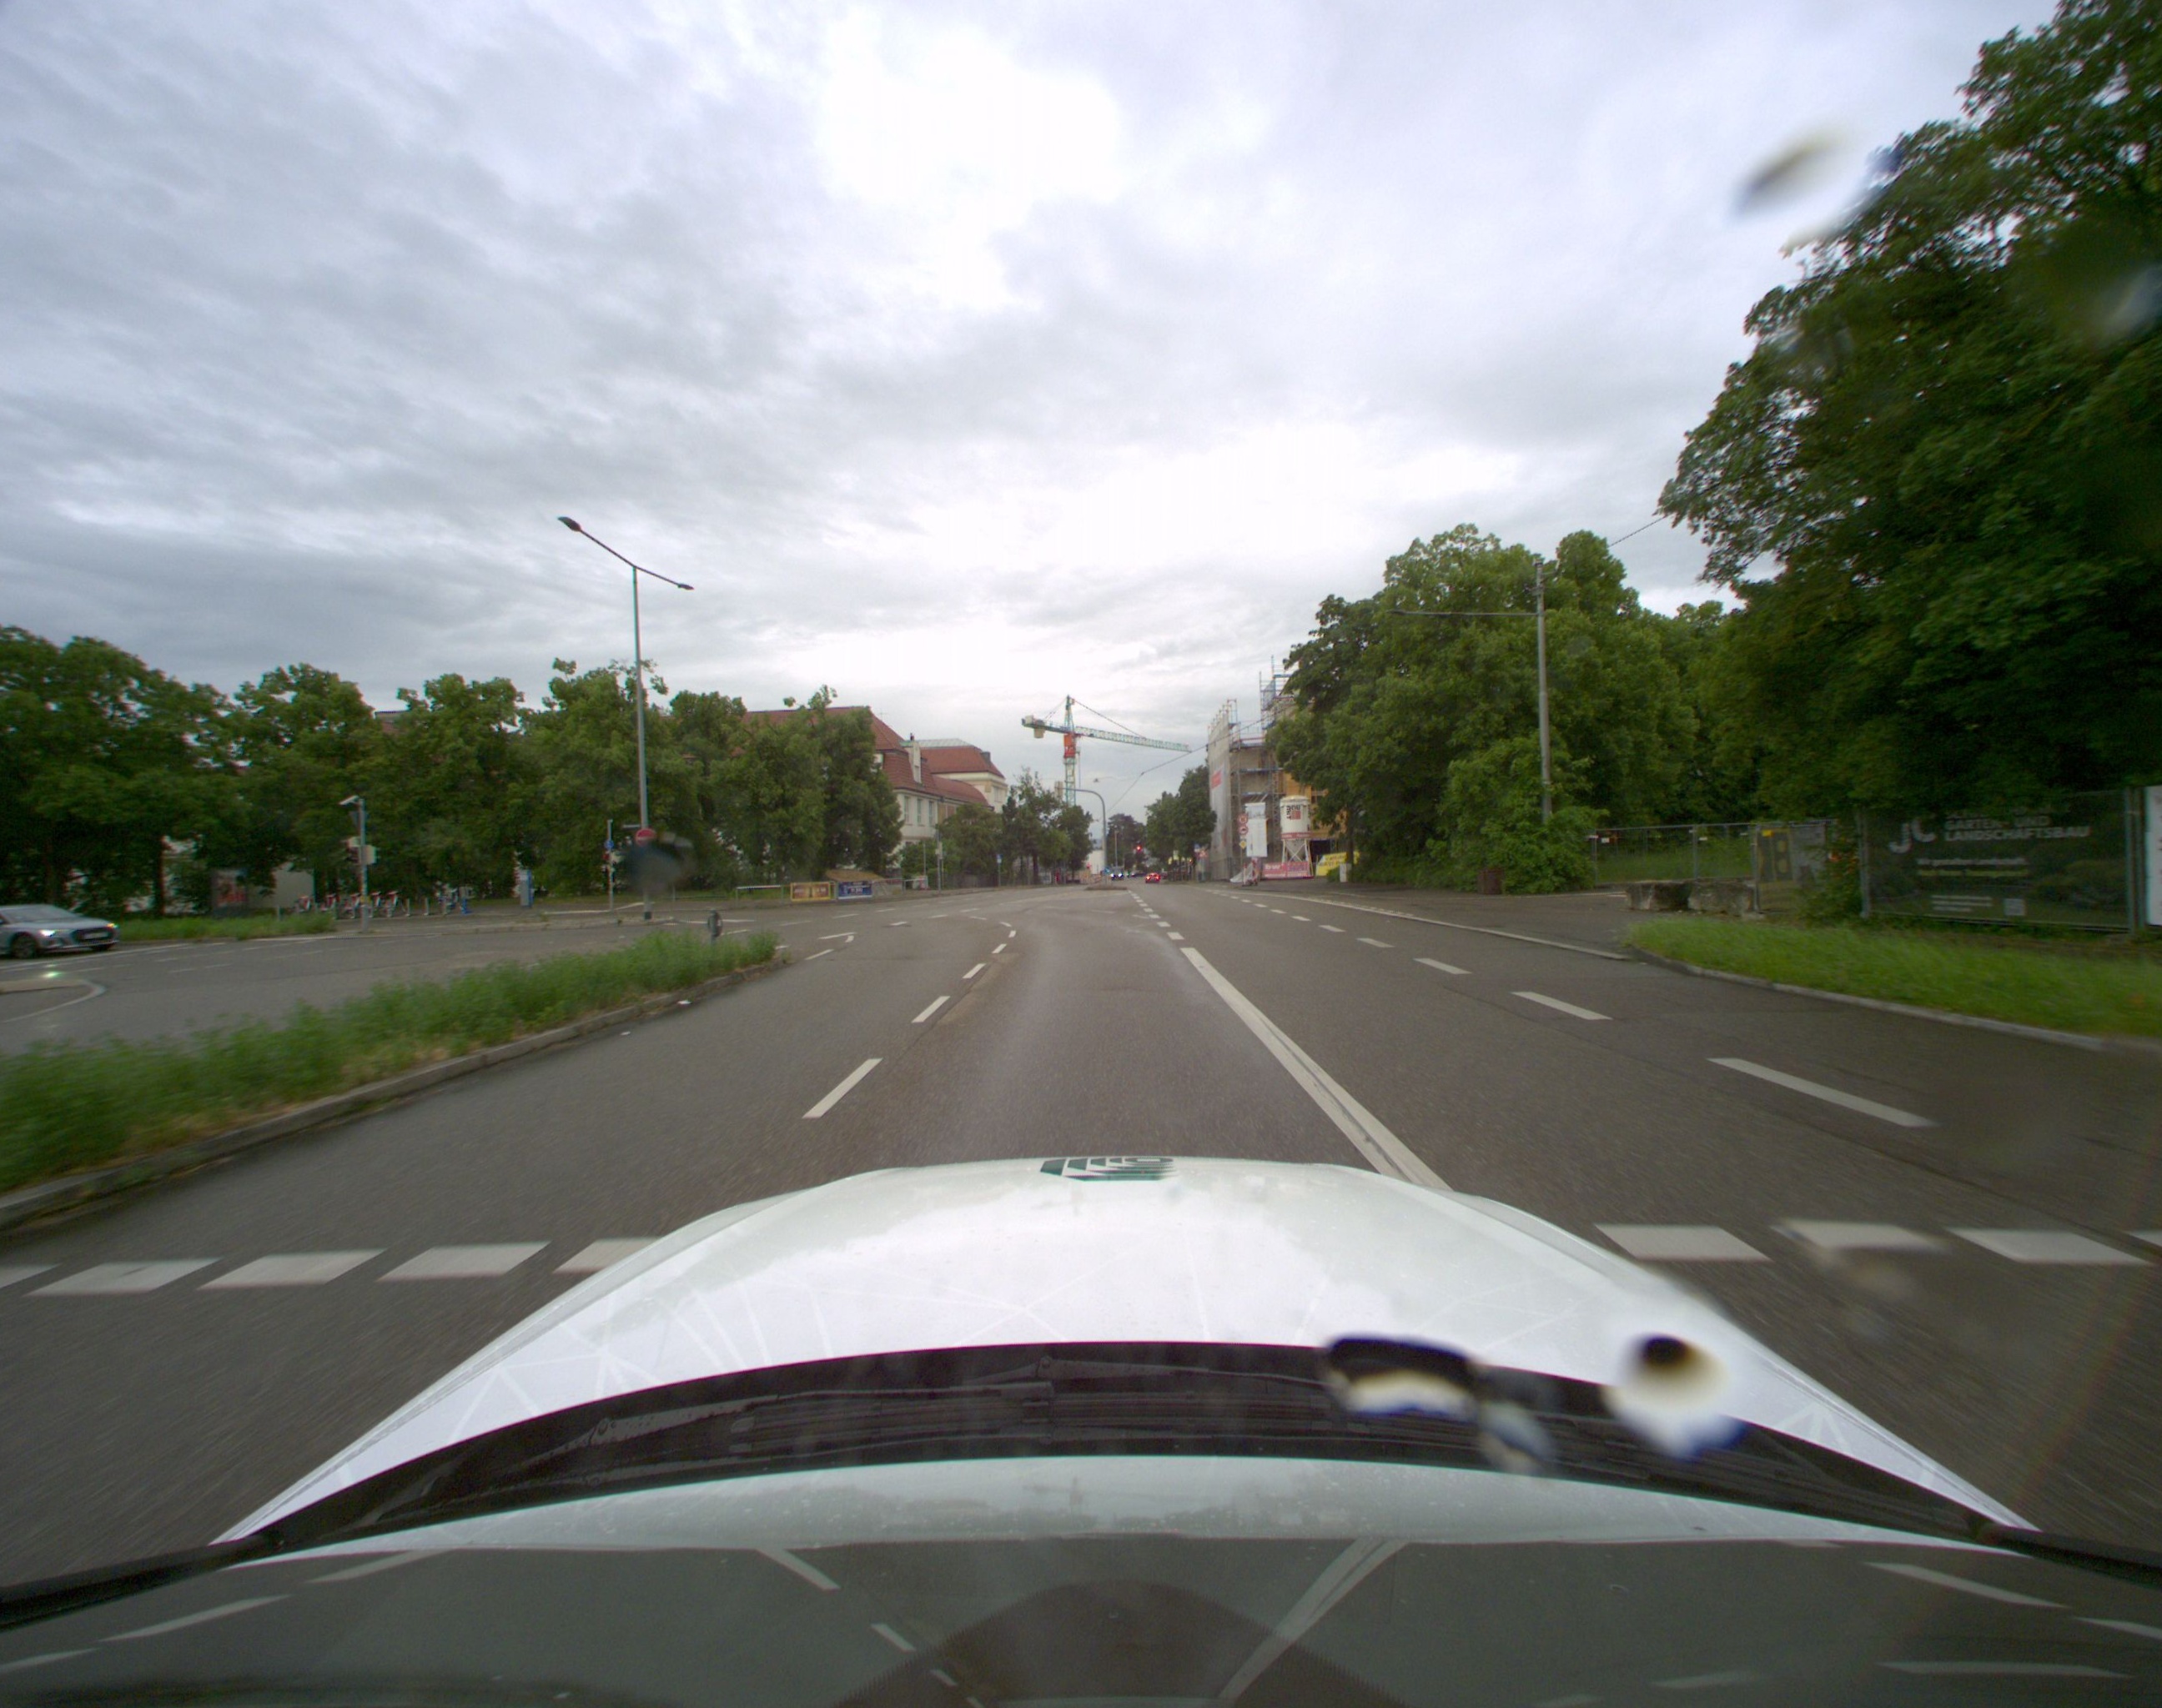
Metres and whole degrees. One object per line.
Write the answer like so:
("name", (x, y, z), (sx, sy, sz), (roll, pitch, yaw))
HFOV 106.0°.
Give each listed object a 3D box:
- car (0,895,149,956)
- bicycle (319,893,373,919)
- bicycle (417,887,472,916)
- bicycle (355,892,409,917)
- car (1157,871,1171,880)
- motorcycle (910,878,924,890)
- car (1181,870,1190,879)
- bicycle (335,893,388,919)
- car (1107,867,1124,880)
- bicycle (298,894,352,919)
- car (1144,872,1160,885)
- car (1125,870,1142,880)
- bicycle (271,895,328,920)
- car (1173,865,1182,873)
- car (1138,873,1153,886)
("car", (-30.195, 2.020, 23.193), (5.006, 1.548, 2.001), (-1, -1, 1))
("bicycle", (-34.119, 2.392, 37.822), (0.649, 1.071, 1.982), (-1, -1, 2))
("bicycle", (-29.648, 2.184, 37.991), (0.987, 1.249, 1.982), (-1, -1, 2))
("bicycle", (-32.481, 2.335, 37.880), (0.798, 1.071, 1.982), (-1, -1, 2))
("car", (16.502, 4.270, 162.093), (1.979, 1.750, 4.016), (-2, 0, 15))
("motorcycle", (-11.837, 2.173, 58.774), (0.846, 0.877, 0.877), (-1, -1, 1))
("car", (22.732, 4.438, 176.662), (1.585, 1.723, 3.916), (-2, 0, 12))
("bicycle", (-33.230, 2.390, 37.648), (0.649, 1.071, 1.982), (-1, -1, 2))
("car", (6.713, 3.745, 157.510), (2.833, 2.403, 6.200), (-1, -1, 7))
("bicycle", (-35.198, 2.426, 37.952), (0.649, 1.071, 1.982), (-1, -1, 2))
("car", (10.314, 3.571, 118.422), (1.986, 1.750, 4.001), (-2, 0, 1))
("car", (10.953, 4.358, 170.686), (1.975, 1.882, 4.024), (-2, 0, 28))
("bicycle", (-36.175, 2.467, 37.737), (0.649, 1.071, 1.982), (-1, -1, 2))
("car", (25.190, 3.933, 212.343), (1.980, 1.750, 4.014), (-2, 0, 13))
("car", (10.001, 3.939, 126.343), (1.986, 1.750, 4.001), (-2, 0, 1))
